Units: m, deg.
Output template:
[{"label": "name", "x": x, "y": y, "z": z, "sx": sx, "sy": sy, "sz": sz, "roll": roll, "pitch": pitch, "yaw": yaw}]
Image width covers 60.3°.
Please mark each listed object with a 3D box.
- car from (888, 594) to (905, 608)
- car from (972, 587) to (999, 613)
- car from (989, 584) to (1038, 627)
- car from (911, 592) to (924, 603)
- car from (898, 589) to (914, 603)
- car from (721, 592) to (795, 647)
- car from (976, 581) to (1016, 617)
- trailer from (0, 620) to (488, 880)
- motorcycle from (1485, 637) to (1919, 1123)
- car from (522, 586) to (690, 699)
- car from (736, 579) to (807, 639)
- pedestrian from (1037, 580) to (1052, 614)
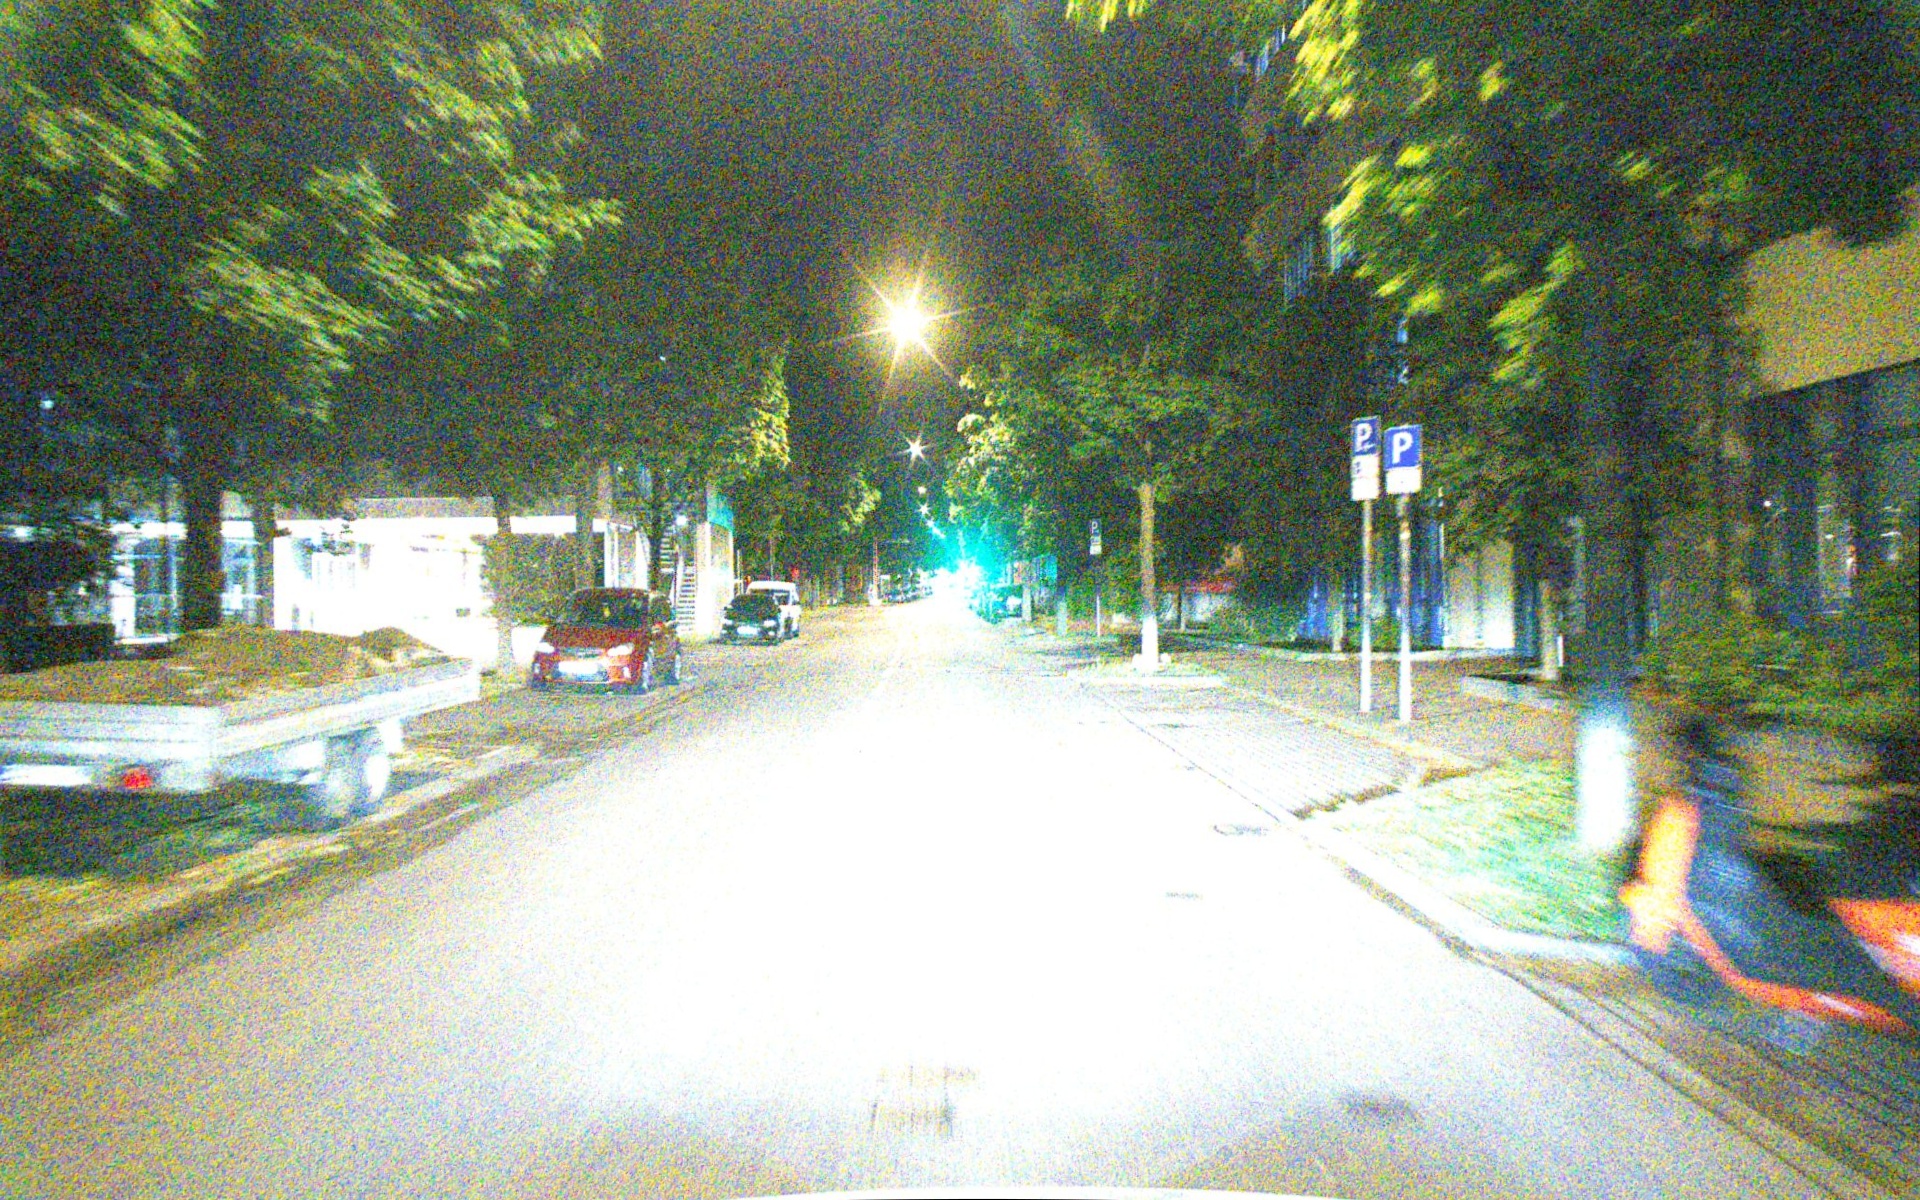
[{"label": "car", "x": -6.847, "y": 0.072, "z": 177.739, "sx": 1.705, "sy": 1.440, "sz": 3.751, "roll": -1, "pitch": 0, "yaw": -1}, {"label": "car", "x": 1.612, "y": -0.014, "z": 106.727, "sx": 1.559, "sy": 1.561, "sz": 4.137, "roll": -3, "pitch": 0, "yaw": -1}, {"label": "car", "x": 2.228, "y": 0.203, "z": 69.773, "sx": 1.815, "sy": 1.682, "sz": 4.209, "roll": -3, "pitch": 0, "yaw": 0}, {"label": "car", "x": -5.669, "y": -0.396, "z": 220.798, "sx": 1.705, "sy": 1.440, "sz": 3.751, "roll": -1, "pitch": 0, "yaw": -1}, {"label": "car", "x": -6.278, "y": -0.447, "z": 191.533, "sx": 1.705, "sy": 1.440, "sz": 3.752, "roll": -1, "pitch": 2, "yaw": -1}, {"label": "car", "x": -5.960, "y": 0.548, "z": 49.150, "sx": 1.665, "sy": 1.458, "sz": 3.828, "roll": 2, "pitch": 0, "yaw": 0}, {"label": "car", "x": 1.937, "y": -0.083, "z": 90.201, "sx": 1.736, "sy": 1.838, "sz": 4.275, "roll": -3, "pitch": 0, "yaw": -3}, {"label": "trailer", "x": -5.335, "y": 0.892, "z": 12.225, "sx": 2.067, "sy": 1.358, "sz": 5.435, "roll": 2, "pitch": 0, "yaw": 0}, {"label": "motorcycle", "x": 2.870, "y": 0.816, "z": 5.407, "sx": 0.914, "sy": 1.306, "sz": 2.216, "roll": -2, "pitch": 1, "yaw": -25}, {"label": "car", "x": -5.667, "y": 0.617, "z": 26.961, "sx": 1.785, "sy": 1.626, "sz": 4.073, "roll": 2, "pitch": 0, "yaw": 0}, {"label": "car", "x": -6.236, "y": 0.270, "z": 55.191, "sx": 1.785, "sy": 1.843, "sz": 4.210, "roll": 2, "pitch": 0, "yaw": 0}, {"label": "pedestrian", "x": 4.405, "y": -0.151, "z": 86.290, "sx": 0.691, "sy": 1.751, "sz": 0.821, "roll": -2, "pitch": 0, "yaw": -1}]
